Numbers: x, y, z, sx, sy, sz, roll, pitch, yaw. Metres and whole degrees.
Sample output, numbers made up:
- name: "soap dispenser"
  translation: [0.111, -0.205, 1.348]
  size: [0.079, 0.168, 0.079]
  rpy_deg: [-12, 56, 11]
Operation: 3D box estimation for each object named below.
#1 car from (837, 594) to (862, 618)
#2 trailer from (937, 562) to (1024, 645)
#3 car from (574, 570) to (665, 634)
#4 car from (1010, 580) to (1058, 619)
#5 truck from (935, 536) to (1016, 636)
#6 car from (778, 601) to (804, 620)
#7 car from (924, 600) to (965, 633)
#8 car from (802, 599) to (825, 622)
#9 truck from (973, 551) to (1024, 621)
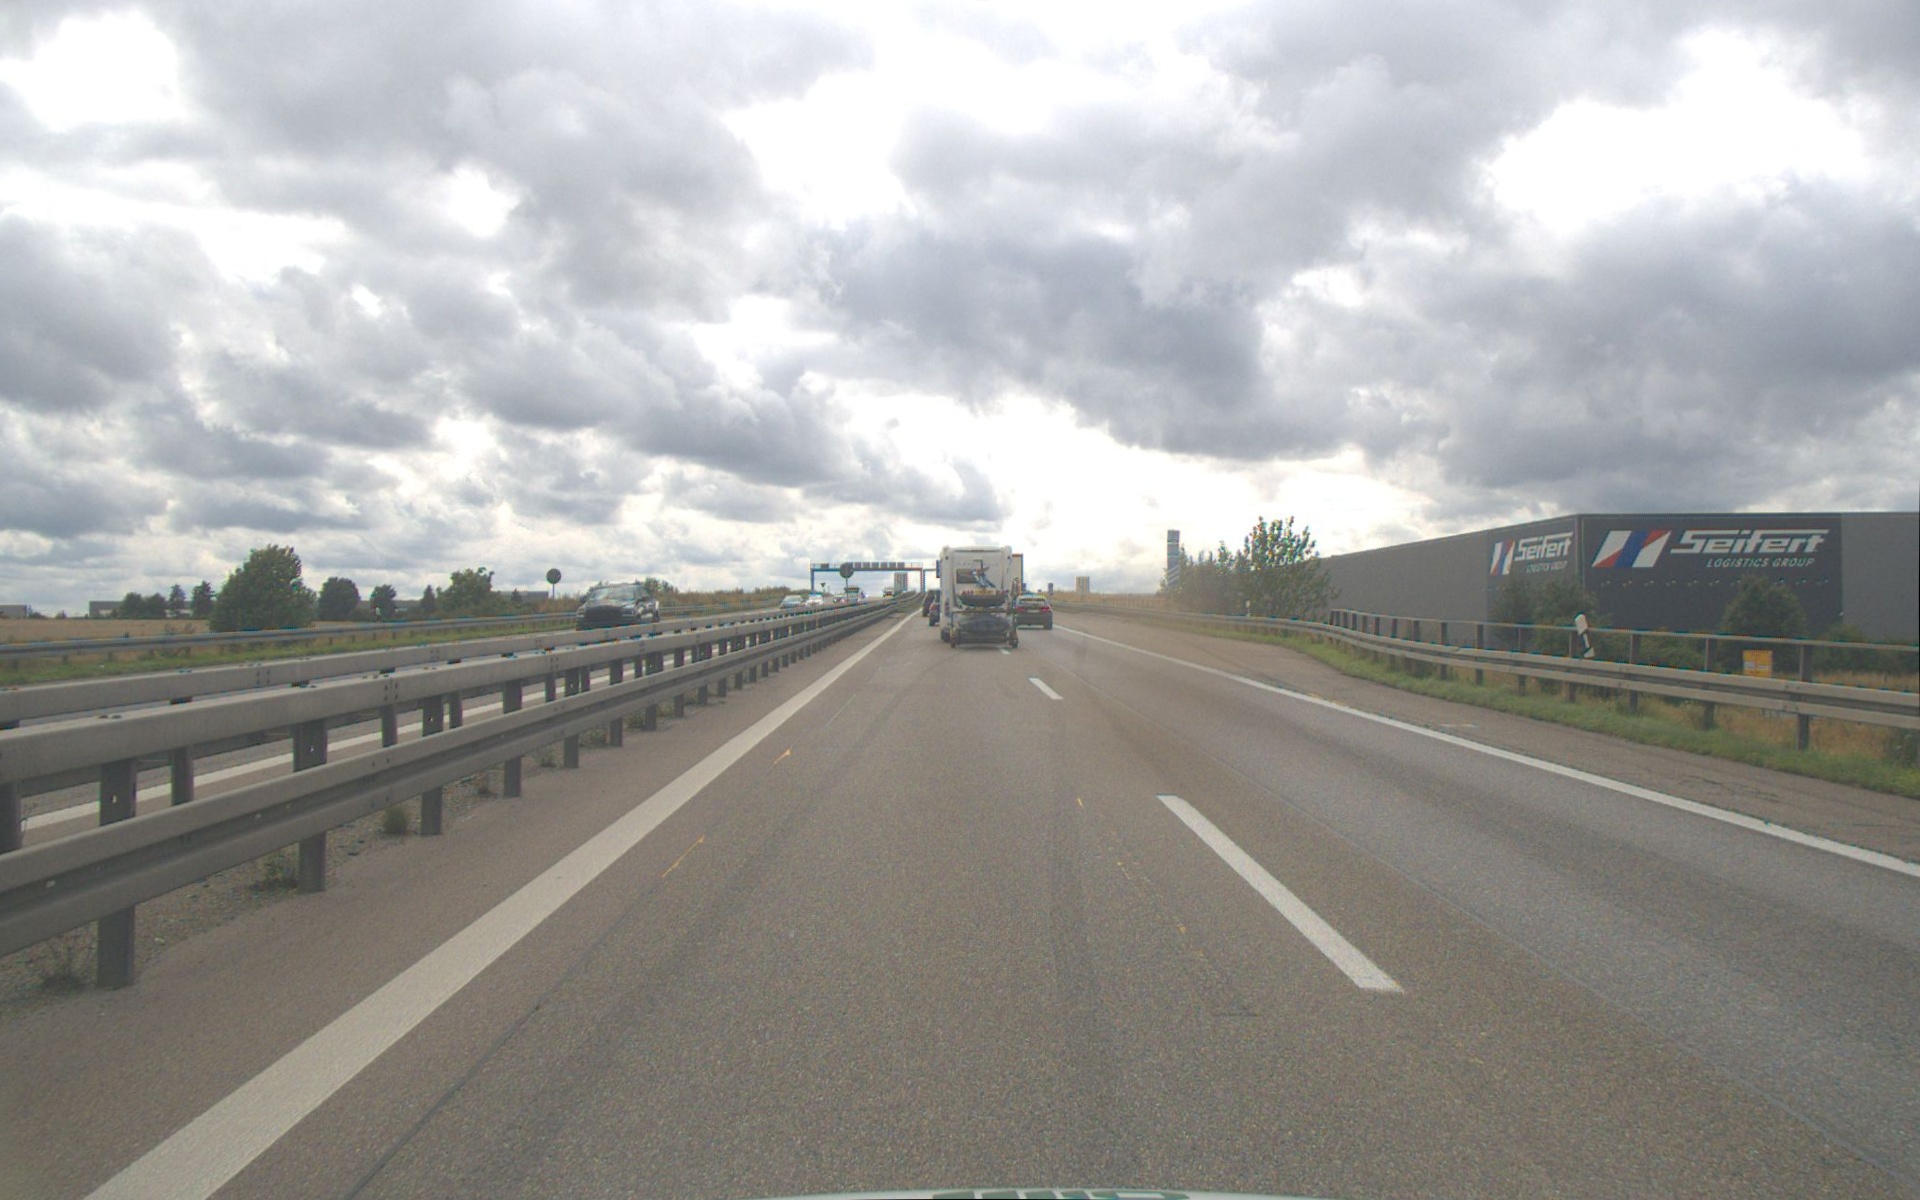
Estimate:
- name: "car"
  translation: [-9.308, 0.493, 139.755]
  size: [1.953, 2.049, 4.382]
  rpy_deg: [0, 0, -3]
- name: "trailer"
  translation: [0.617, 0.117, 46.073]
  size: [2.290, 2.174, 4.001]
  rpy_deg: [-1, -1, 2]
- name: "car"
  translation: [-11.720, 0.042, 57.287]
  size: [1.953, 2.049, 6.101]
  rpy_deg: [-1, 0, -1]
- name: "car"
  translation: [3.227, 0.007, 72.735]
  size: [1.844, 1.649, 3.999]
  rpy_deg: [-1, -1, -1]
- name: "truck"
  translation: [0.482, -0.381, 53.222]
  size: [2.431, 3.002, 5.814]
  rpy_deg: [-1, -1, 0]
- name: "car"
  translation: [-13.335, 0.817, 130.539]
  size: [1.721, 1.494, 4.559]
  rpy_deg: [0, 0, -2]
- name: "car"
  translation: [-0.699, 0.782, 77.894]
  size: [1.710, 1.478, 4.001]
  rpy_deg: [-1, -1, 2]
- name: "car"
  translation: [-13.706, 0.985, 155.152]
  size: [1.954, 2.049, 4.381]
  rpy_deg: [-1, -1, -3]
- name: "truck"
  translation: [2.591, -0.878, 113.931]
  size: [3.180, 4.605, 7.065]
  rpy_deg: [-1, -1, -1]
